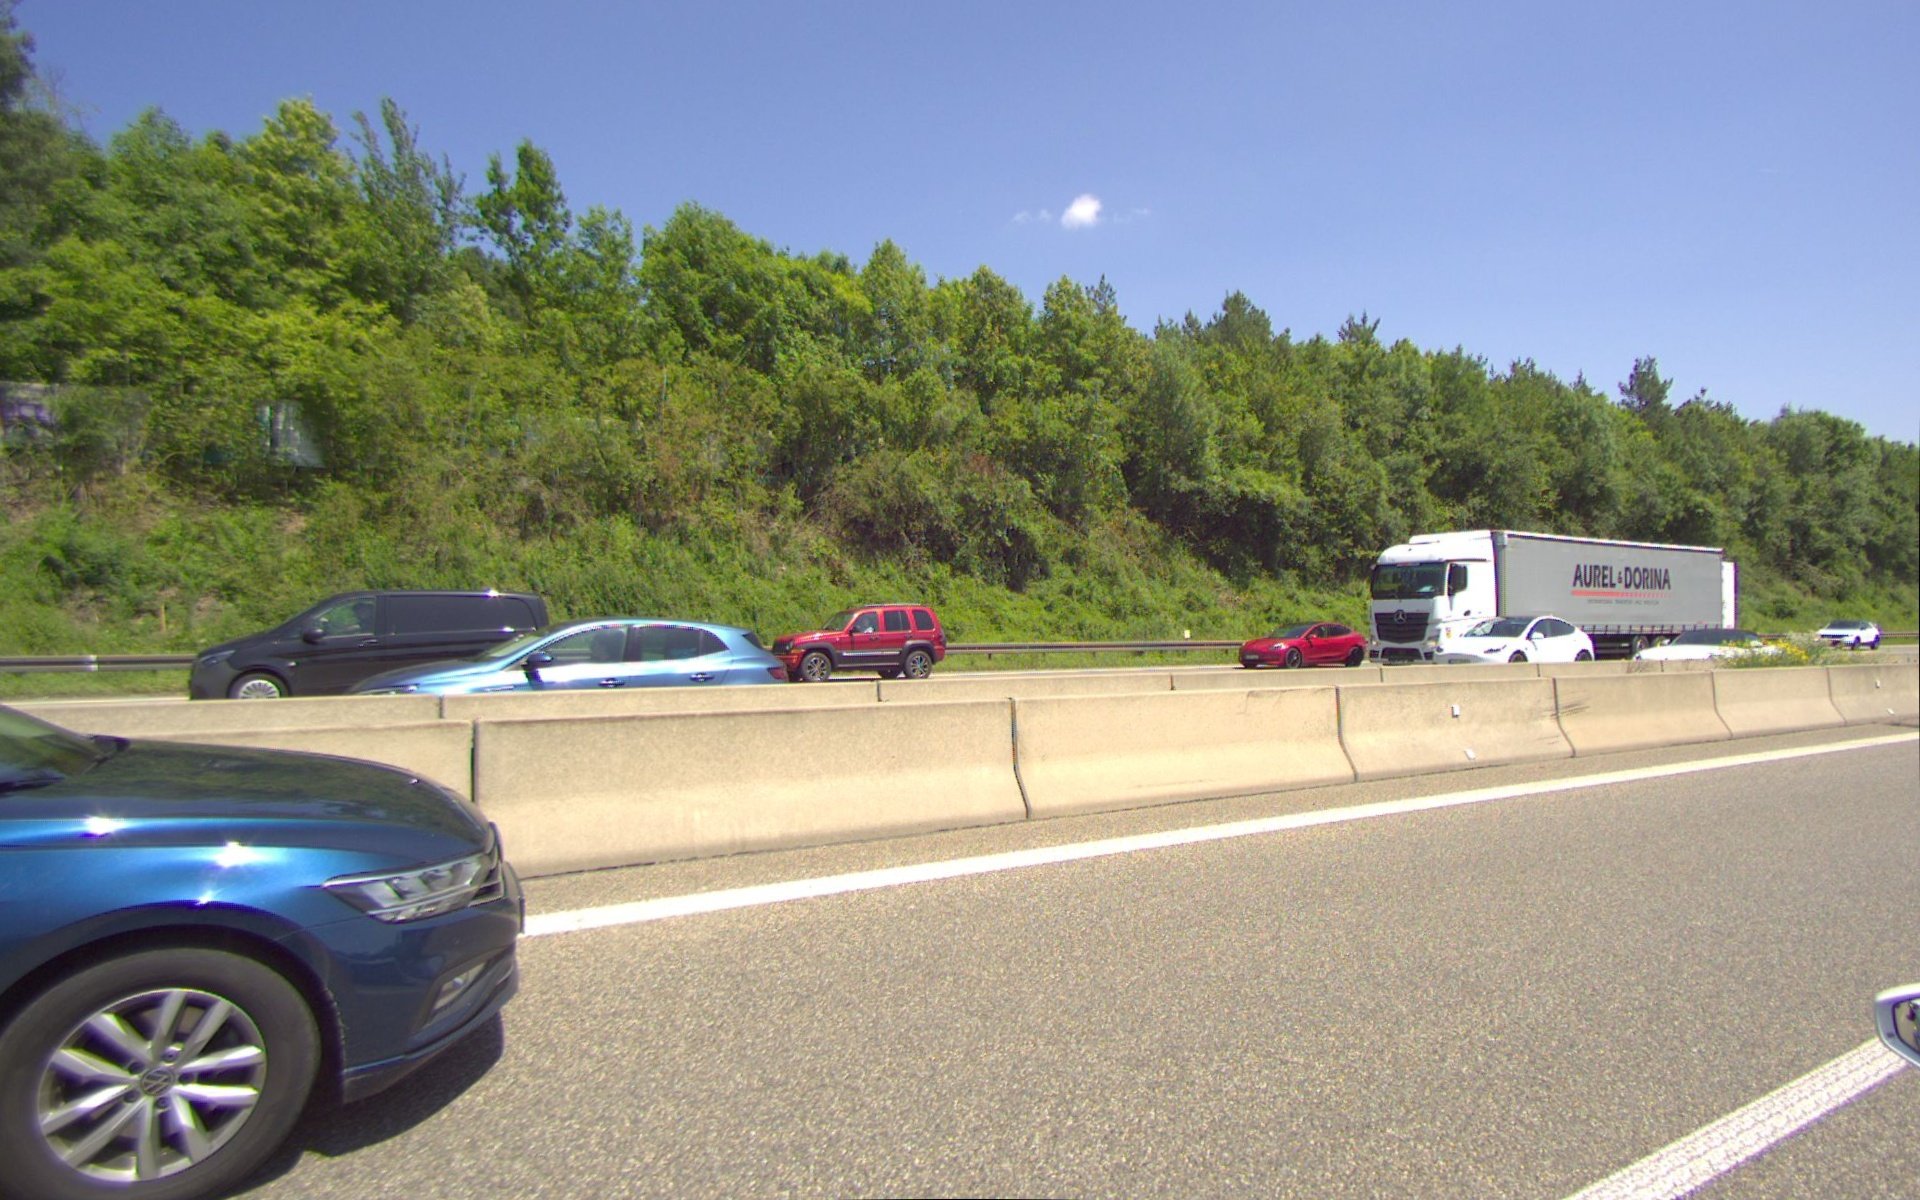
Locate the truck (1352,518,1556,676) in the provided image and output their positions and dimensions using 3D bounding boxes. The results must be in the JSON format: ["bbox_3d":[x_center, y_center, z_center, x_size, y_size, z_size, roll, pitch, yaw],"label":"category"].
[{"bbox_3d":[14.673,-0.037,29.797,5.594,4.270,2.827,1,-1,-31],"label":"truck"}]

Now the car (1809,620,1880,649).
[{"bbox_3d":[46.784,1.803,53.125,4.141,1.486,1.658,1,-1,-31],"label":"car"}]

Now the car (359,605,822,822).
[{"bbox_3d":[-3.660,0.992,10.219,4.140,1.795,1.762,1,-1,-34],"label":"car"}]

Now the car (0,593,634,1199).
[{"bbox_3d":[-3.361,0.709,2.394,4.674,1.446,1.724,1,-2,-30],"label":"car"}]

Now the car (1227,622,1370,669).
[{"bbox_3d":[10.547,1.384,31.235,4.448,1.388,1.754,1,-1,-30],"label":"car"}]

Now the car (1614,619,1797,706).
[{"bbox_3d":[17.017,1.392,22.913,3.954,1.817,1.984,2,-2,-31],"label":"car"}]

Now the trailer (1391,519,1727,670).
[{"bbox_3d":[20.075,0.082,32.975,14.566,4.220,2.822,2,-2,-30],"label":"trailer"}]

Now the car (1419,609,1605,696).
[{"bbox_3d":[13.722,1.293,24.912,4.695,1.975,1.983,2,-2,-31],"label":"car"}]

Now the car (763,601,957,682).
[{"bbox_3d":[-2.334,0.982,23.876,4.327,1.774,1.667,2,-2,-31],"label":"car"}]

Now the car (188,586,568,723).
[{"bbox_3d":[-8.751,0.784,15.491,4.811,1.833,1.724,1,-1,-33],"label":"car"}]

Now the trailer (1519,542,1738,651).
[{"bbox_3d":[28.373,0.060,42.275,12.486,4.100,2.792,2,-2,-32],"label":"trailer"}]
